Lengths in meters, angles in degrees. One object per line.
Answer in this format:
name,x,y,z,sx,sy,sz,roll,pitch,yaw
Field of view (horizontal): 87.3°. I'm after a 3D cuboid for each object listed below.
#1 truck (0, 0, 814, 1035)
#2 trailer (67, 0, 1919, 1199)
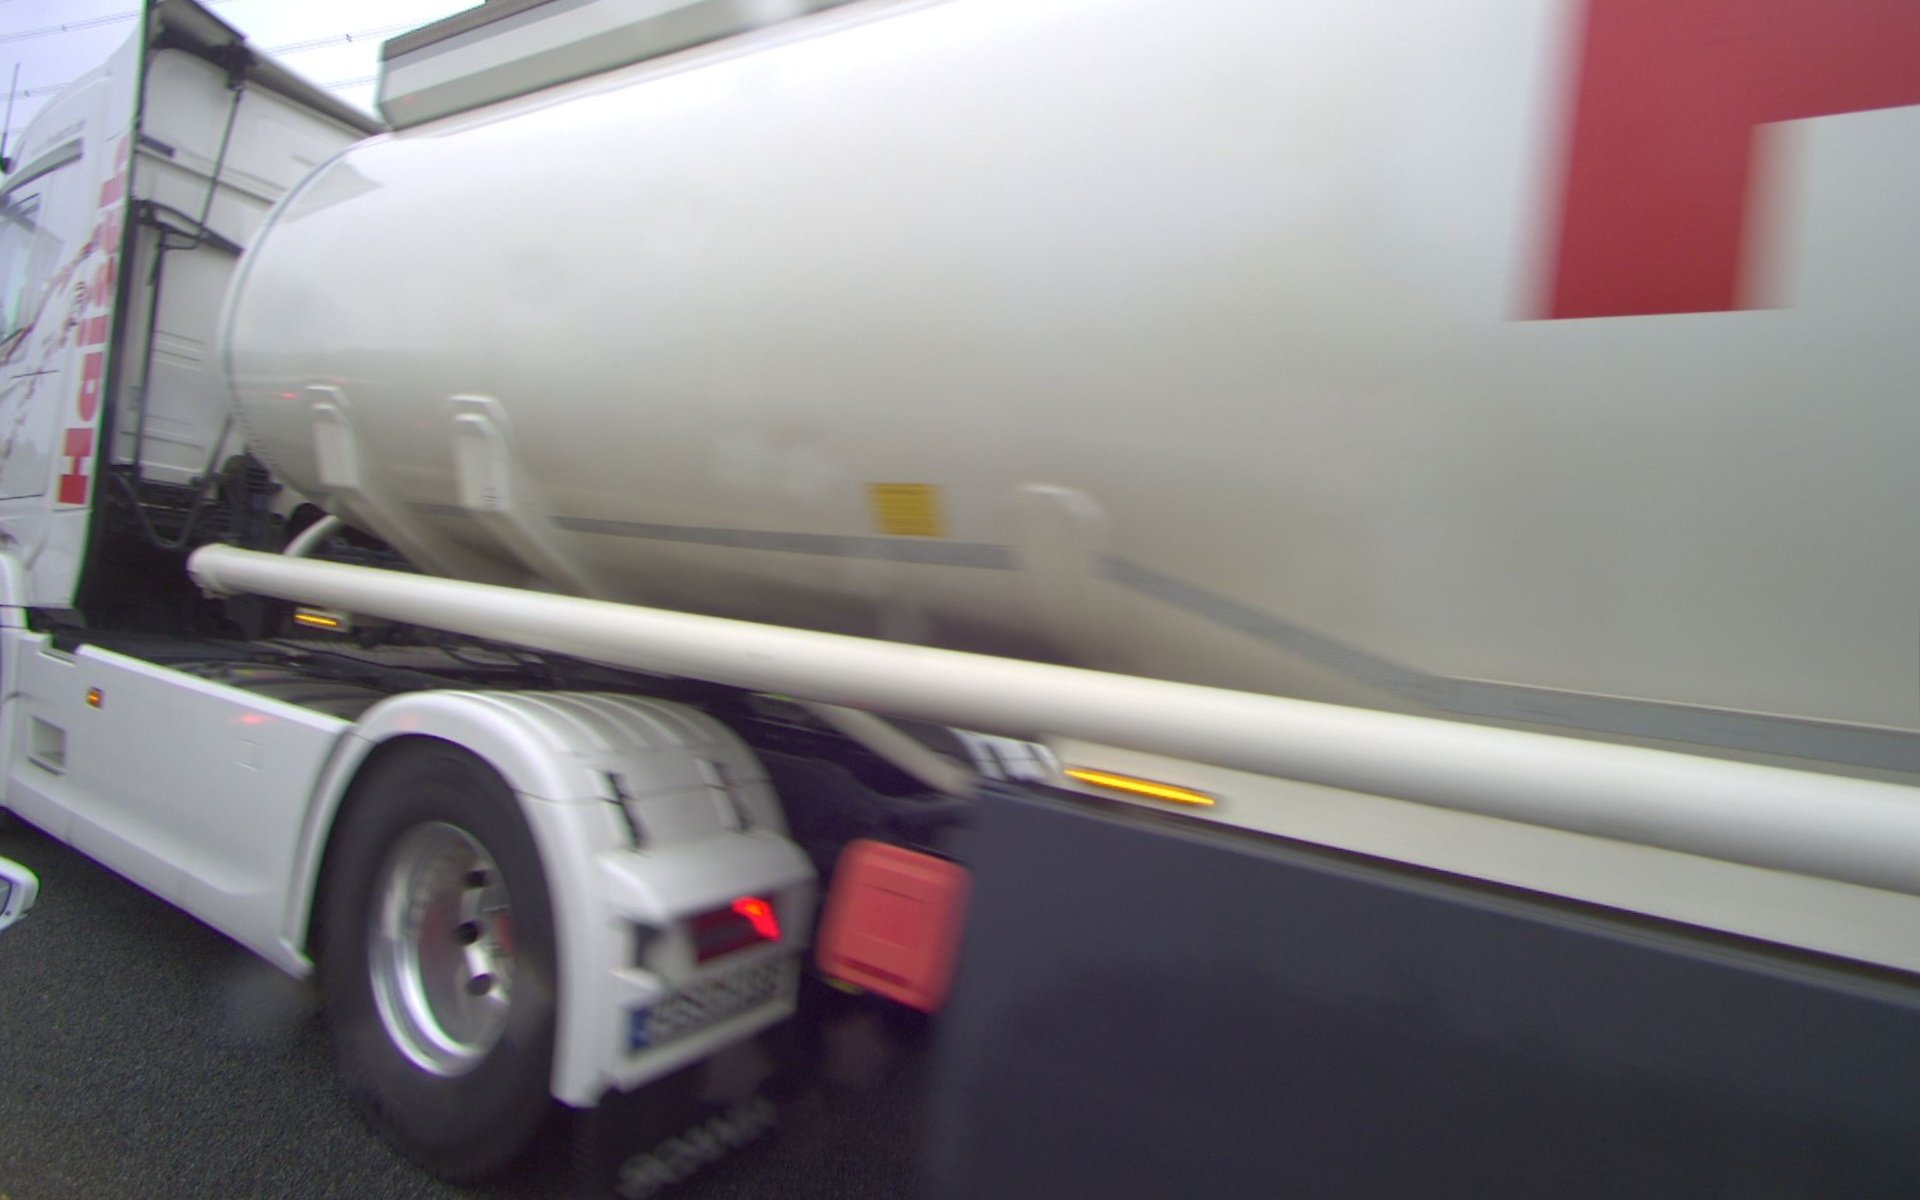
truck,-3.361,-0.689,5.223,3.963,3.936,2.650,6,-2,32
trailer,2.518,-0.092,1.553,10.369,3.938,2.643,6,-2,32
